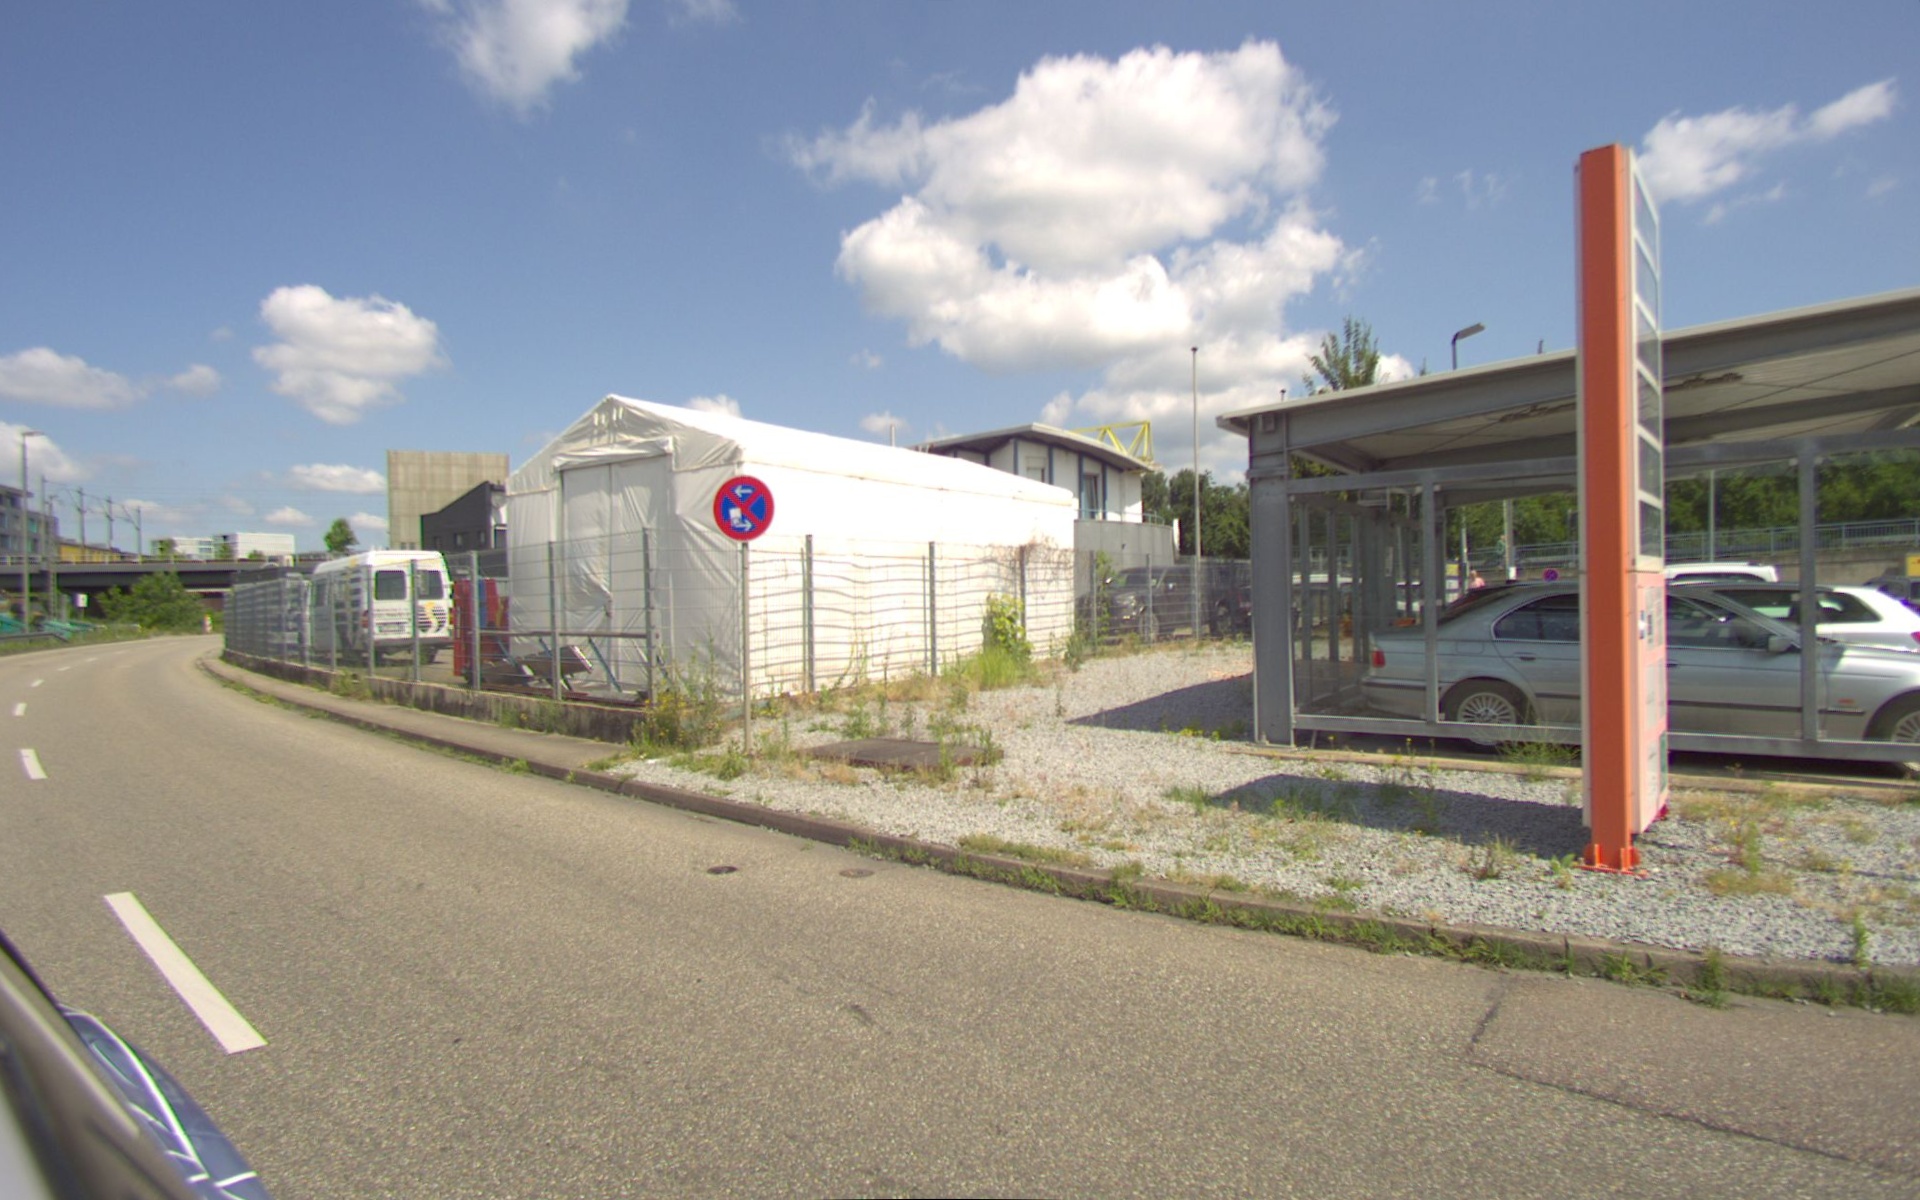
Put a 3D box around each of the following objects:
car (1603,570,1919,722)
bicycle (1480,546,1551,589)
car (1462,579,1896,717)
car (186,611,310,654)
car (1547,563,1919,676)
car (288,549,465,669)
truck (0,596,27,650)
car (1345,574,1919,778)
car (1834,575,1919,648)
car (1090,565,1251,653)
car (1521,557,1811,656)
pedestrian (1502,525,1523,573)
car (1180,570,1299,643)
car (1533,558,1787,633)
[{"bbox_3d":[8.261,0.408,10.137,3.047,1.355,1.581,-1,1,33],"label":"car"},{"bbox_3d":[24.010,-1.399,43.803,2.680,1.763,0.530,-1,-1,29],"label":"bicycle"},{"bbox_3d":[8.941,0.557,13.028,4.239,1.509,1.978,-2,0,33],"label":"car"},{"bbox_3d":[-39.735,1.772,56.594,1.997,1.930,5.278,-1,2,37],"label":"car"},{"bbox_3d":[11.149,0.281,14.831,4.303,1.448,1.874,-1,-1,33],"label":"car"},{"bbox_3d":[-14.415,0.261,24.750,2.095,2.556,6.721,0,-1,-45],"label":"car"},{"bbox_3d":[-57.520,1.352,58.155,5.418,3.121,2.007,-1,-1,-25],"label":"truck"},{"bbox_3d":[5.914,0.529,8.483,4.772,1.388,1.904,-1,1,30],"label":"car"},{"bbox_3d":[21.448,0.226,22.331,1.911,1.500,4.497,-1,0,22],"label":"car"},{"bbox_3d":[5.568,0.213,26.099,1.995,2.029,5.633,-1,-1,35],"label":"car"},{"bbox_3d":[14.048,0.149,20.460,4.584,1.791,1.978,-1,-1,33],"label":"car"},{"bbox_3d":[23.918,-2.189,43.778,0.765,2.009,0.585,-1,-1,30],"label":"pedestrian"},{"bbox_3d":[8.593,0.184,30.773,1.995,2.029,4.797,-1,-1,35],"label":"car"},{"bbox_3d":[15.840,-0.056,23.205,4.584,1.564,1.978,-1,-1,33],"label":"car"}]
